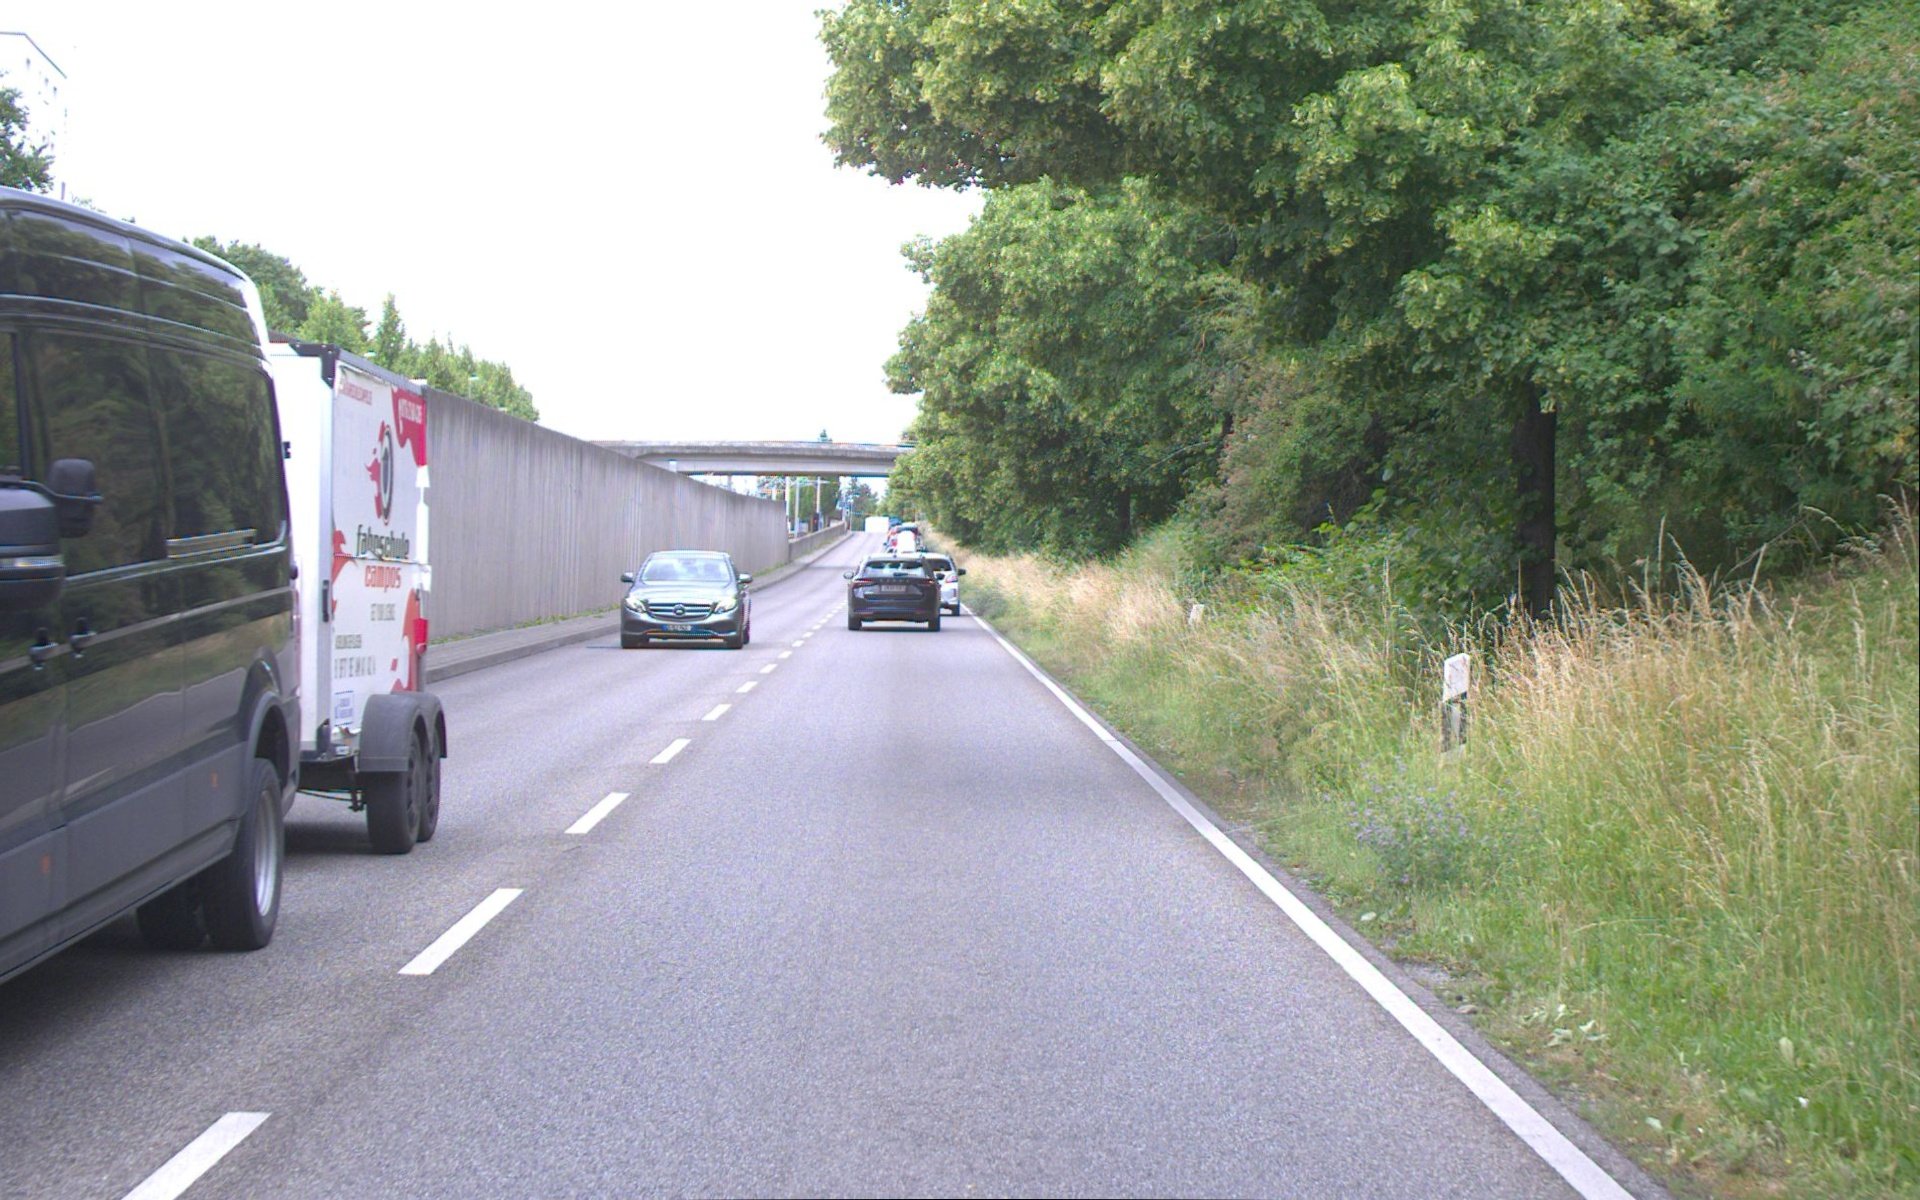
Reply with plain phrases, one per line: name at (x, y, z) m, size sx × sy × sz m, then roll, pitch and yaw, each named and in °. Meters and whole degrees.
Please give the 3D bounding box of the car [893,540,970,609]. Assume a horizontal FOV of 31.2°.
car at (-0.663, -0.586, 82.478) m, size 1.754 × 1.518 × 4.036 m, roll -1°, pitch -1°, yaw 0°

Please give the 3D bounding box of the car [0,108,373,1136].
car at (-3.525, 0.017, 10.943) m, size 2.109 × 2.621 × 7.417 m, roll 1°, pitch 1°, yaw -1°

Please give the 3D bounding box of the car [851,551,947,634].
car at (-1.189, -0.129, 66.236) m, size 1.754 × 1.518 × 4.037 m, roll -1°, pitch 0°, yaw -1°

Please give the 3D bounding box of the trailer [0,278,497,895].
trailer at (-3.613, -0.095, 16.892) m, size 2.109 × 2.621 × 4.372 m, roll 1°, pitch 1°, yaw -1°

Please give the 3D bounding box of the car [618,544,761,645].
car at (-4.166, -0.125, 53.642) m, size 1.892 × 1.478 × 4.823 m, roll 1°, pitch 1°, yaw -1°
